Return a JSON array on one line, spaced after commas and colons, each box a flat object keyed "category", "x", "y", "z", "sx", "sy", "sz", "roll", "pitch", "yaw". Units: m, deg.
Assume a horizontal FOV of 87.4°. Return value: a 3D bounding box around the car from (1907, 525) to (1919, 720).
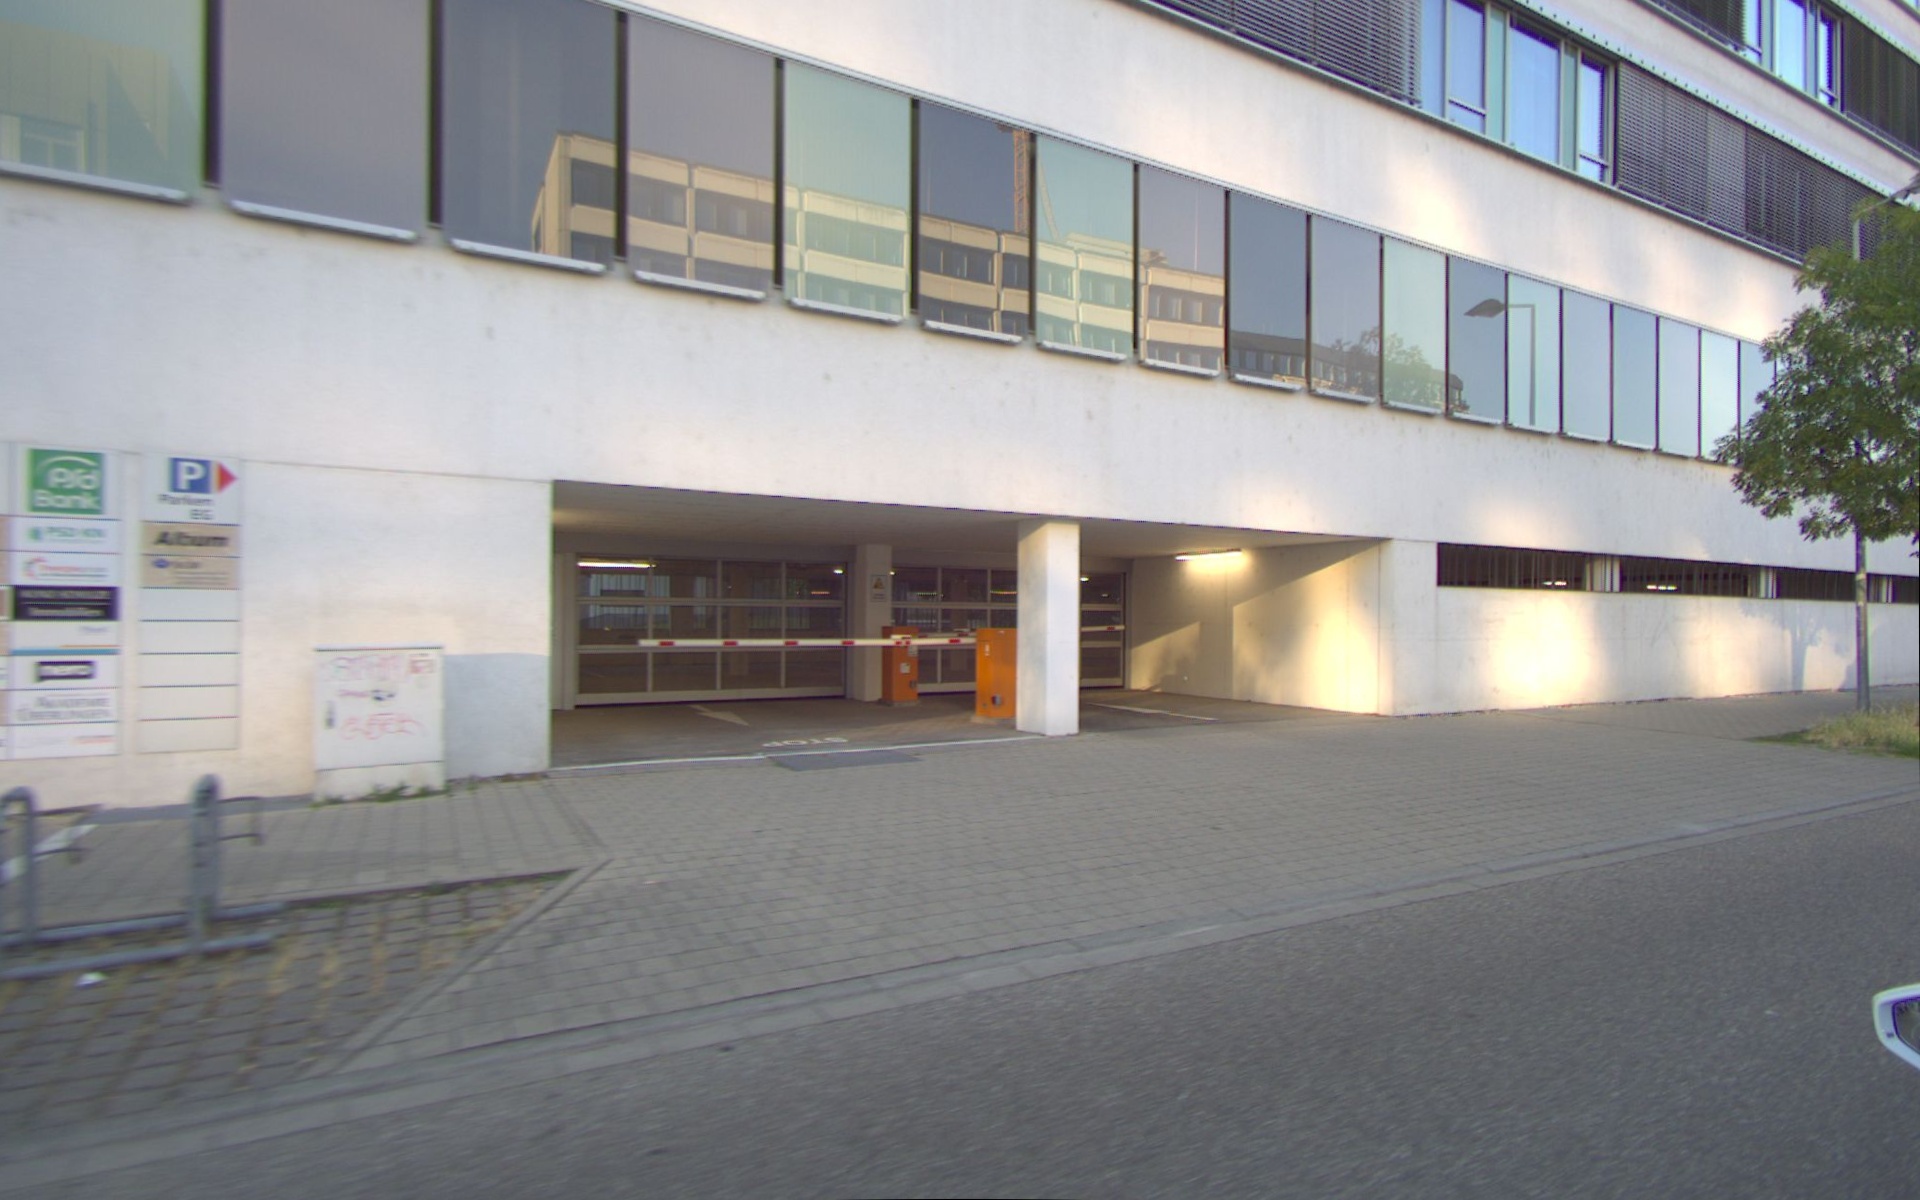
[{"category": "car", "x": 16.440, "y": 0.336, "z": 14.560, "sx": 6.808, "sy": 2.652, "sz": 1.949, "roll": 0, "pitch": 2, "yaw": -29}]
